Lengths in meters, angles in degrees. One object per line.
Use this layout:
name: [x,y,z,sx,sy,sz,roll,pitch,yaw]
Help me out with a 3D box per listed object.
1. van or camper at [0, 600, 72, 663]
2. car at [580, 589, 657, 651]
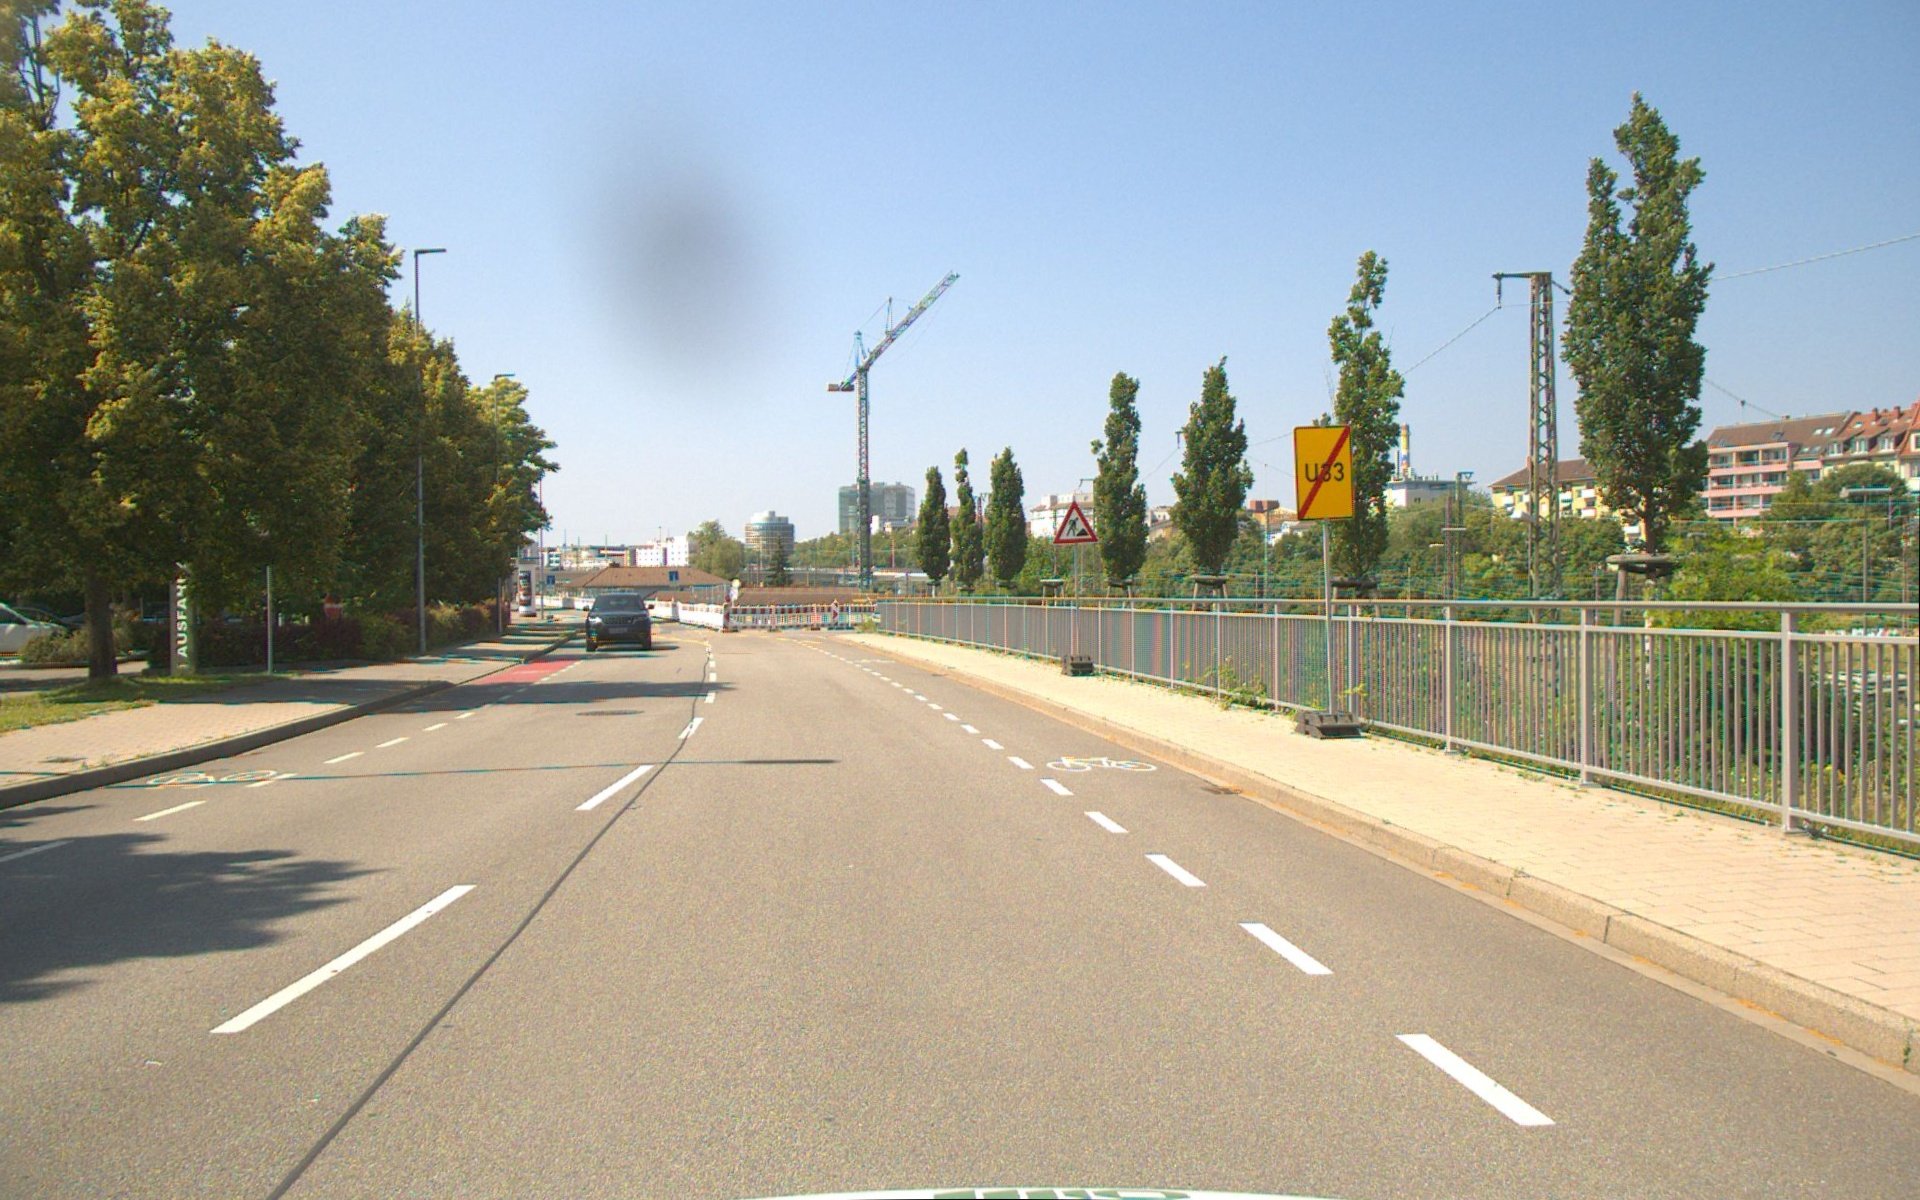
van or camper: [-28.301,0.929,48.160,4.221,1.770,1.982,-1,1,-28]
car: [-10.296,0.553,49.603,1.918,1.725,4.593,-1,1,-16]
